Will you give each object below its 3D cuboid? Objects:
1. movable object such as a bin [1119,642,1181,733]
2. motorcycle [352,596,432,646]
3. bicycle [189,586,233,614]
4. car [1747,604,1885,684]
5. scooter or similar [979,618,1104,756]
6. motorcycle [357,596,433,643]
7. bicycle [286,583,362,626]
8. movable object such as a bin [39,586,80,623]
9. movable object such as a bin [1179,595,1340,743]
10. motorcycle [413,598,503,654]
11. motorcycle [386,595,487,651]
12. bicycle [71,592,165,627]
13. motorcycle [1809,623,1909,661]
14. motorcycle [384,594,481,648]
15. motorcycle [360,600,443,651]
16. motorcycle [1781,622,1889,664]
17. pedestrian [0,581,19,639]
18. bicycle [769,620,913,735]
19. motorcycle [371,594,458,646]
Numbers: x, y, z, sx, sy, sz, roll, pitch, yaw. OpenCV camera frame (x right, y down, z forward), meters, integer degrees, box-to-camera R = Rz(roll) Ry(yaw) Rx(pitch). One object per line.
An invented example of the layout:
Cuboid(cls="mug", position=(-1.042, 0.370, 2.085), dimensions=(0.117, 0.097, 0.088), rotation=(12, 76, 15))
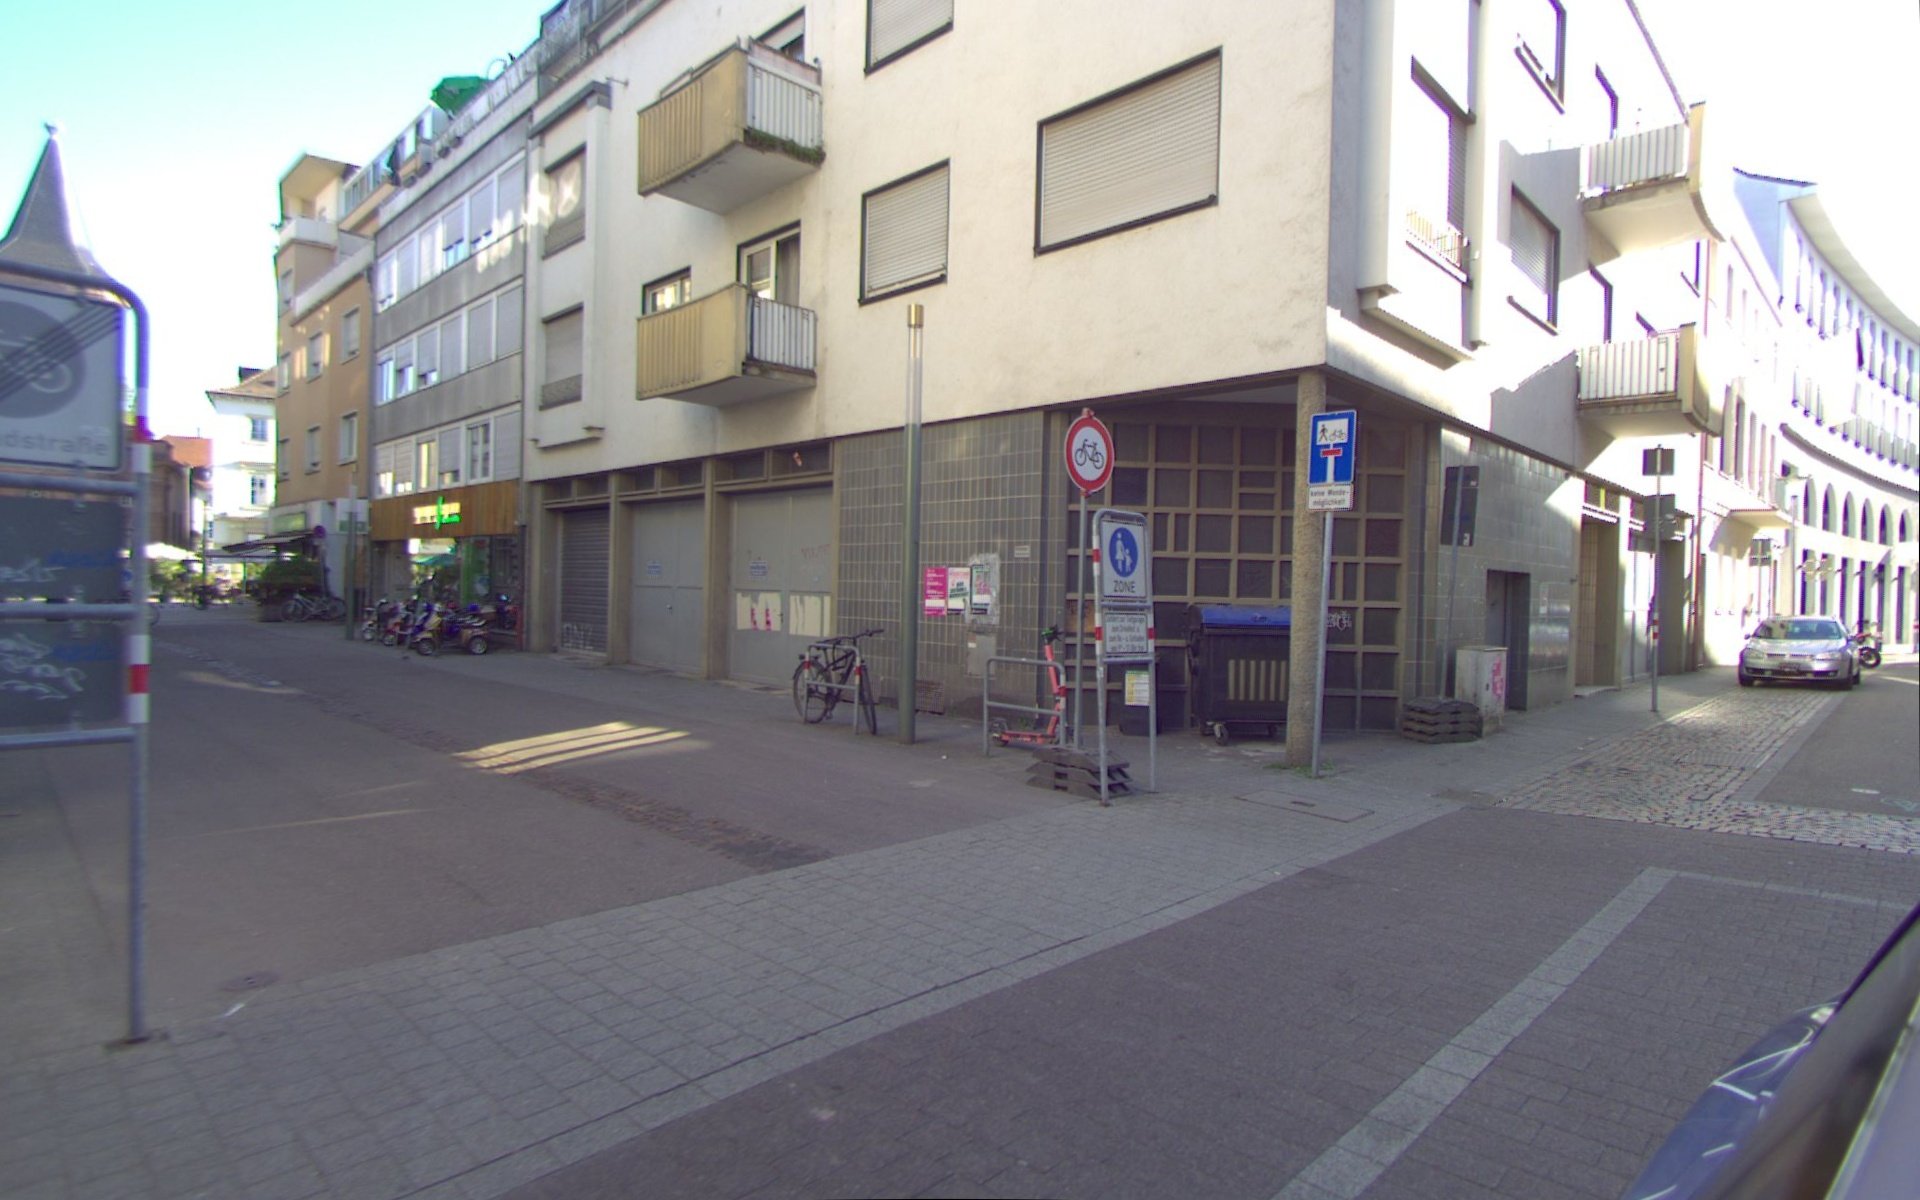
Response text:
Cuboid(cls="movable object such as a bin", position=(2.102, 0.957, 11.244), dimensions=(0.586, 0.938, 0.607), rotation=(1, 0, 3))
Cuboid(cls="motorcycle", position=(-14.046, 0.509, 25.054), dimensions=(1.662, 1.188, 0.512), rotation=(1, 0, -40))
Cuboid(cls="bicycle", position=(-31.297, -0.015, 42.318), dimensions=(0.401, 1.168, 1.821), rotation=(1, 0, 2))
Cuboid(cls="car", position=(17.624, 0.825, 20.781), dimensions=(3.934, 1.480, 1.843), rotation=(0, -1, -45))
Cuboid(cls="scooter or similar", position=(0.783, 0.812, 9.931), dimensions=(1.158, 1.238, 0.490), rotation=(1, 0, 43))
Cuboid(cls="motorcycle", position=(-14.497, 0.495, 25.977), dimensions=(1.659, 1.188, 0.513), rotation=(1, 0, -33))
Cuboid(cls="bicycle", position=(-21.398, 0.157, 34.079), dimensions=(2.102, 1.368, 0.587), rotation=(1, -8, -41))
Cuboid(cls="movable object such as a bin", position=(-28.820, 0.135, 32.396), dimensions=(0.777, 1.138, 0.891), rotation=(1, 0, 42))
Cuboid(cls="movable object such as a bin", position=(3.174, 0.698, 10.887), dimensions=(1.409, 1.481, 1.128), rotation=(1, 0, 3))
Cuboid(cls="motorcycle", position=(-10.731, 0.554, 21.685), dimensions=(1.665, 1.169, 0.794), rotation=(1, 0, -23))
Cuboid(cls="motorcycle", position=(-11.549, 0.510, 22.371), dimensions=(1.862, 1.188, 0.630), rotation=(1, 0, -6))
Cuboid(cls="bicycle", position=(-25.544, 0.288, 30.722), dimensions=(2.131, 0.996, 0.815), rotation=(2, -1, -43))
Cuboid(cls="motorcycle", position=(25.327, 1.173, 28.547), dimensions=(0.632, 0.967, 2.001), rotation=(1, 1, -31))
Cuboid(cls="motorcycle", position=(-12.023, 0.484, 23.109), dimensions=(1.871, 1.188, 0.544), rotation=(1, 0, -13))
Cuboid(cls="motorcycle", position=(-13.435, 0.605, 24.371), dimensions=(1.662, 1.188, 0.596), rotation=(1, 0, -41))
Cuboid(cls="motorcycle", position=(22.445, 1.075, 26.000), dimensions=(0.632, 0.967, 2.001), rotation=(1, 1, -31))
Cuboid(cls="pedestrian", position=(-23.032, 0.226, 24.198), dimensions=(0.751, 1.372, 0.550), rotation=(1, 0, -42))
Cuboid(cls="bicycle", position=(-1.370, 0.817, 11.370), dimensions=(0.670, 1.141, 1.890), rotation=(1, 0, -41))
Cuboid(cls="motorcycle", position=(-12.795, 0.462, 23.785), dimensions=(1.747, 1.188, 0.555), rotation=(1, 0, -27))
